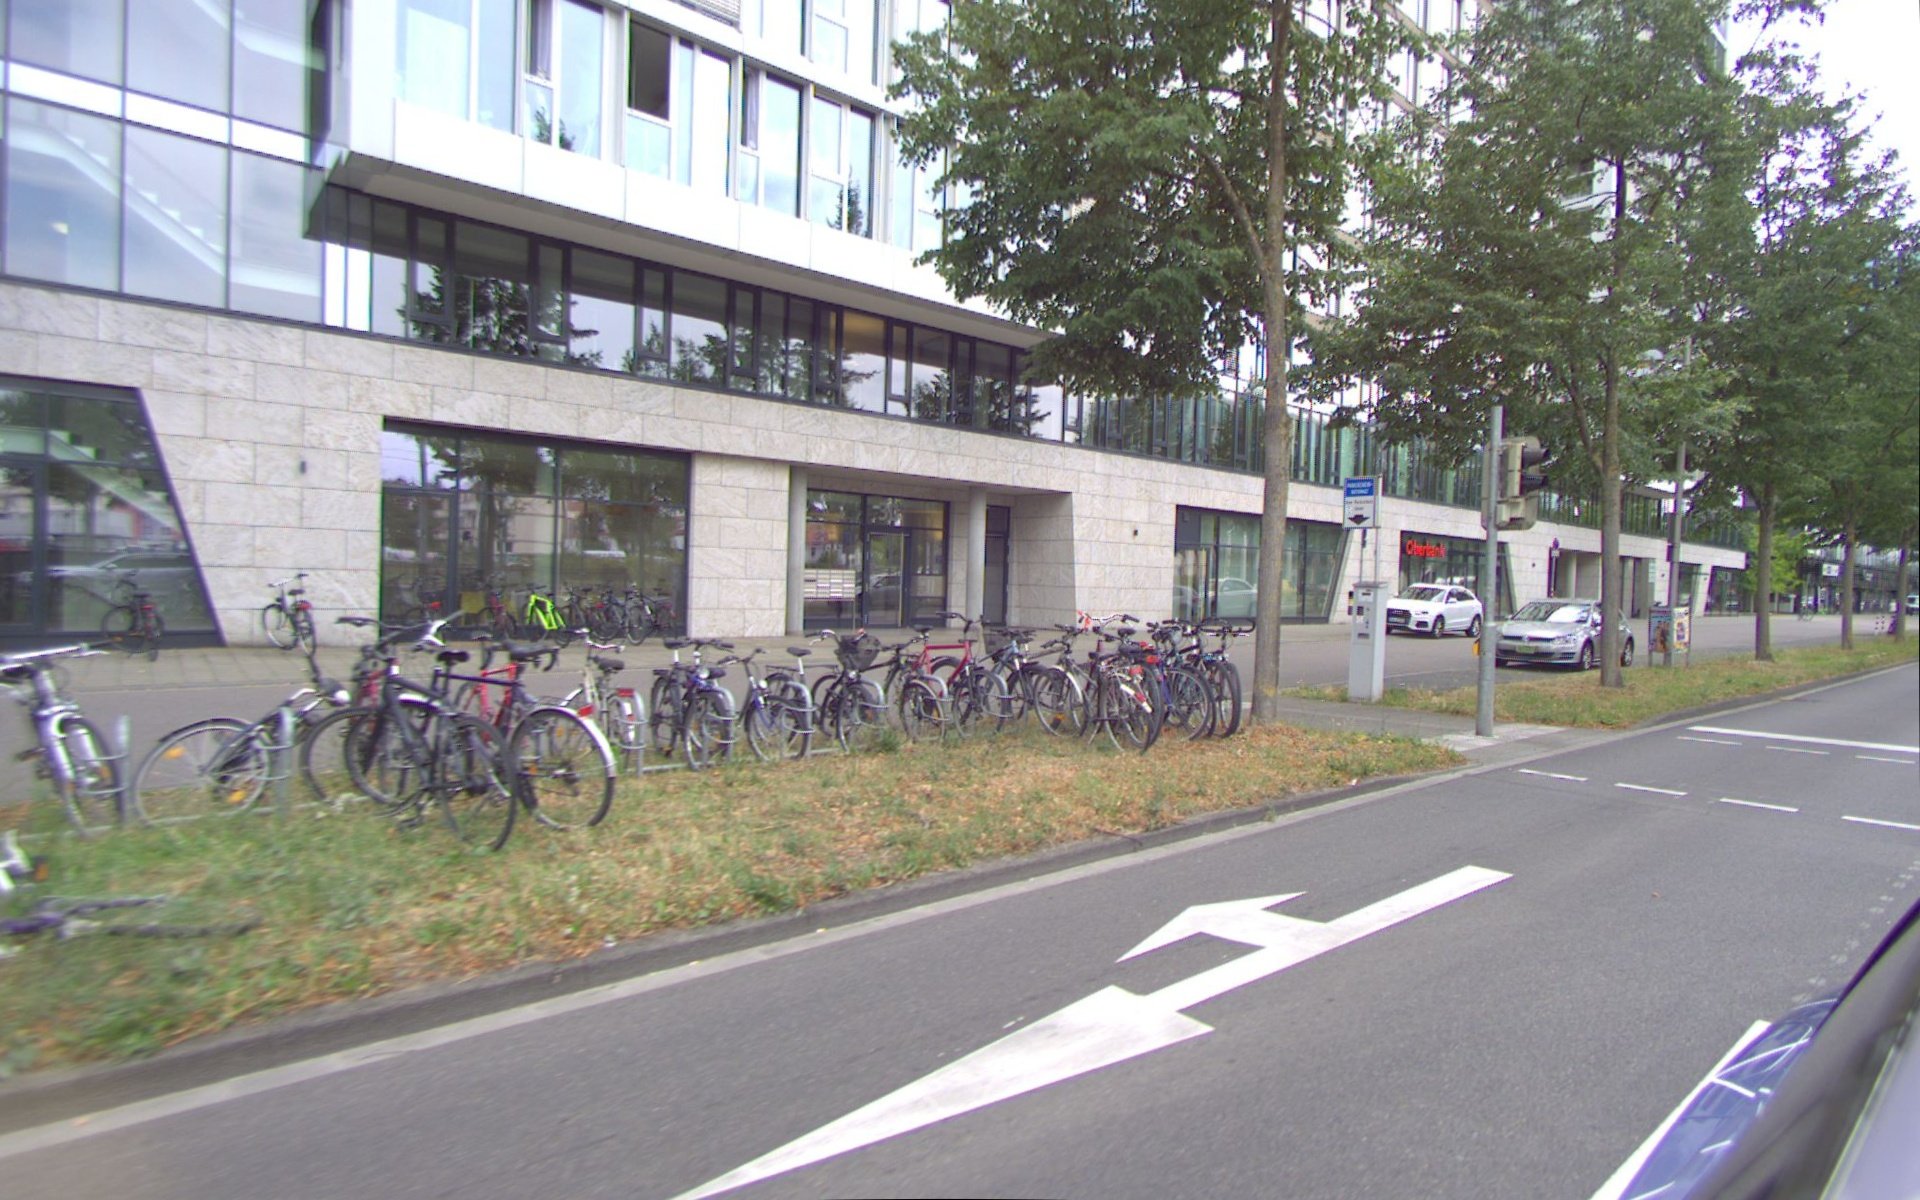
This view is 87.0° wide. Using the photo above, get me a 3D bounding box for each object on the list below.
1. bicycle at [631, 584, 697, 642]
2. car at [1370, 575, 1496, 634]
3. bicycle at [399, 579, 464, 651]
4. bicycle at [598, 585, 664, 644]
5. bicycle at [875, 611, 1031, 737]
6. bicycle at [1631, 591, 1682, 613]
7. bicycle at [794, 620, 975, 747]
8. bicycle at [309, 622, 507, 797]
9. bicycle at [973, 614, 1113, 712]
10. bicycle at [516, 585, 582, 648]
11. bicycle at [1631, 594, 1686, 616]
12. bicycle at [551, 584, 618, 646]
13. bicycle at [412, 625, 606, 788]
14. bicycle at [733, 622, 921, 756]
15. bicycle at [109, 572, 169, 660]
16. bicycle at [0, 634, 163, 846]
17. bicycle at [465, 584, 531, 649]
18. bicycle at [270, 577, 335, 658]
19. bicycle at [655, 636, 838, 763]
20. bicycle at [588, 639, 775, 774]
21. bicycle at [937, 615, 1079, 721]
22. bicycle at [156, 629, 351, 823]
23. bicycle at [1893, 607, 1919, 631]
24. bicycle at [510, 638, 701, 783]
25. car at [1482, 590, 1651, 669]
[{"bbox_3d":[-5.382,0.222,18.361,0.524,0.965,1.531,0,2,-42],"label":"bicycle"},{"bbox_3d":[14.634,0.105,31.228,4.165,1.607,1.862,0,4,-40],"label":"car"},{"bbox_3d":[-8.262,0.205,15.808,0.524,1.039,1.531,0,2,-42],"label":"bicycle"},{"bbox_3d":[-5.840,0.233,17.933,0.524,0.965,1.531,0,2,-42],"label":"bicycle"},{"bbox_3d":[-0.104,0.658,9.705,0.516,1.104,1.670,0,-1,-42],"label":"bicycle"},{"bbox_3d":[39.073,0.100,56.811,2.231,1.191,0.961,3,2,43],"label":"bicycle"},{"bbox_3d":[-0.721,0.707,9.198,1.771,1.025,0.601,-1,-1,43],"label":"bicycle"},{"bbox_3d":[-3.625,0.645,6.578,1.742,0.986,0.600,-2,-2,43],"label":"bicycle"},{"bbox_3d":[0.854,0.635,10.792,0.543,0.965,1.530,0,-1,-42],"label":"bicycle"},{"bbox_3d":[-6.908,0.255,16.961,0.524,0.965,1.531,0,2,-42],"label":"bicycle"},{"bbox_3d":[39.858,0.275,57.753,2.418,1.191,1.184,3,2,43],"label":"bicycle"},{"bbox_3d":[-6.448,0.238,17.338,0.524,0.965,1.531,0,2,-42],"label":"bicycle"},{"bbox_3d":[-3.160,0.678,7.018,1.713,0.986,0.600,-2,-2,43],"label":"bicycle"},{"bbox_3d":[-1.180,0.714,8.685,1.771,1.025,0.601,-2,-2,43],"label":"bicycle"},{"bbox_3d":[-10.755,0.185,13.244,0.524,1.039,1.600,0,3,-42],"label":"bicycle"},{"bbox_3d":[-4.972,0.691,5.609,1.742,0.986,0.600,-2,-2,43],"label":"bicycle"},{"bbox_3d":[-7.506,0.250,16.413,0.524,0.965,1.531,0,2,-42],"label":"bicycle"},{"bbox_3d":[-9.396,0.223,14.444,0.524,1.039,1.600,0,3,-42],"label":"bicycle"},{"bbox_3d":[-1.782,0.763,8.293,1.713,0.917,0.579,-2,-2,43],"label":"bicycle"},{"bbox_3d":[-2.190,0.771,7.839,1.713,0.917,0.579,-2,-2,43],"label":"bicycle"},{"bbox_3d":[0.455,0.644,10.112,0.476,0.965,1.530,0,-1,-42],"label":"bicycle"},{"bbox_3d":[-4.253,0.678,6.043,1.742,0.986,0.600,-2,-2,43],"label":"bicycle"},{"bbox_3d":[36.529,0.714,38.903,2.077,0.887,0.634,-1,0,-38],"label":"bicycle"},{"bbox_3d":[-2.624,0.747,7.385,1.713,0.917,0.579,-2,-2,43],"label":"bicycle"},{"bbox_3d":[12.689,0.545,21.083,4.108,1.439,1.764,0,1,-40],"label":"car"}]
